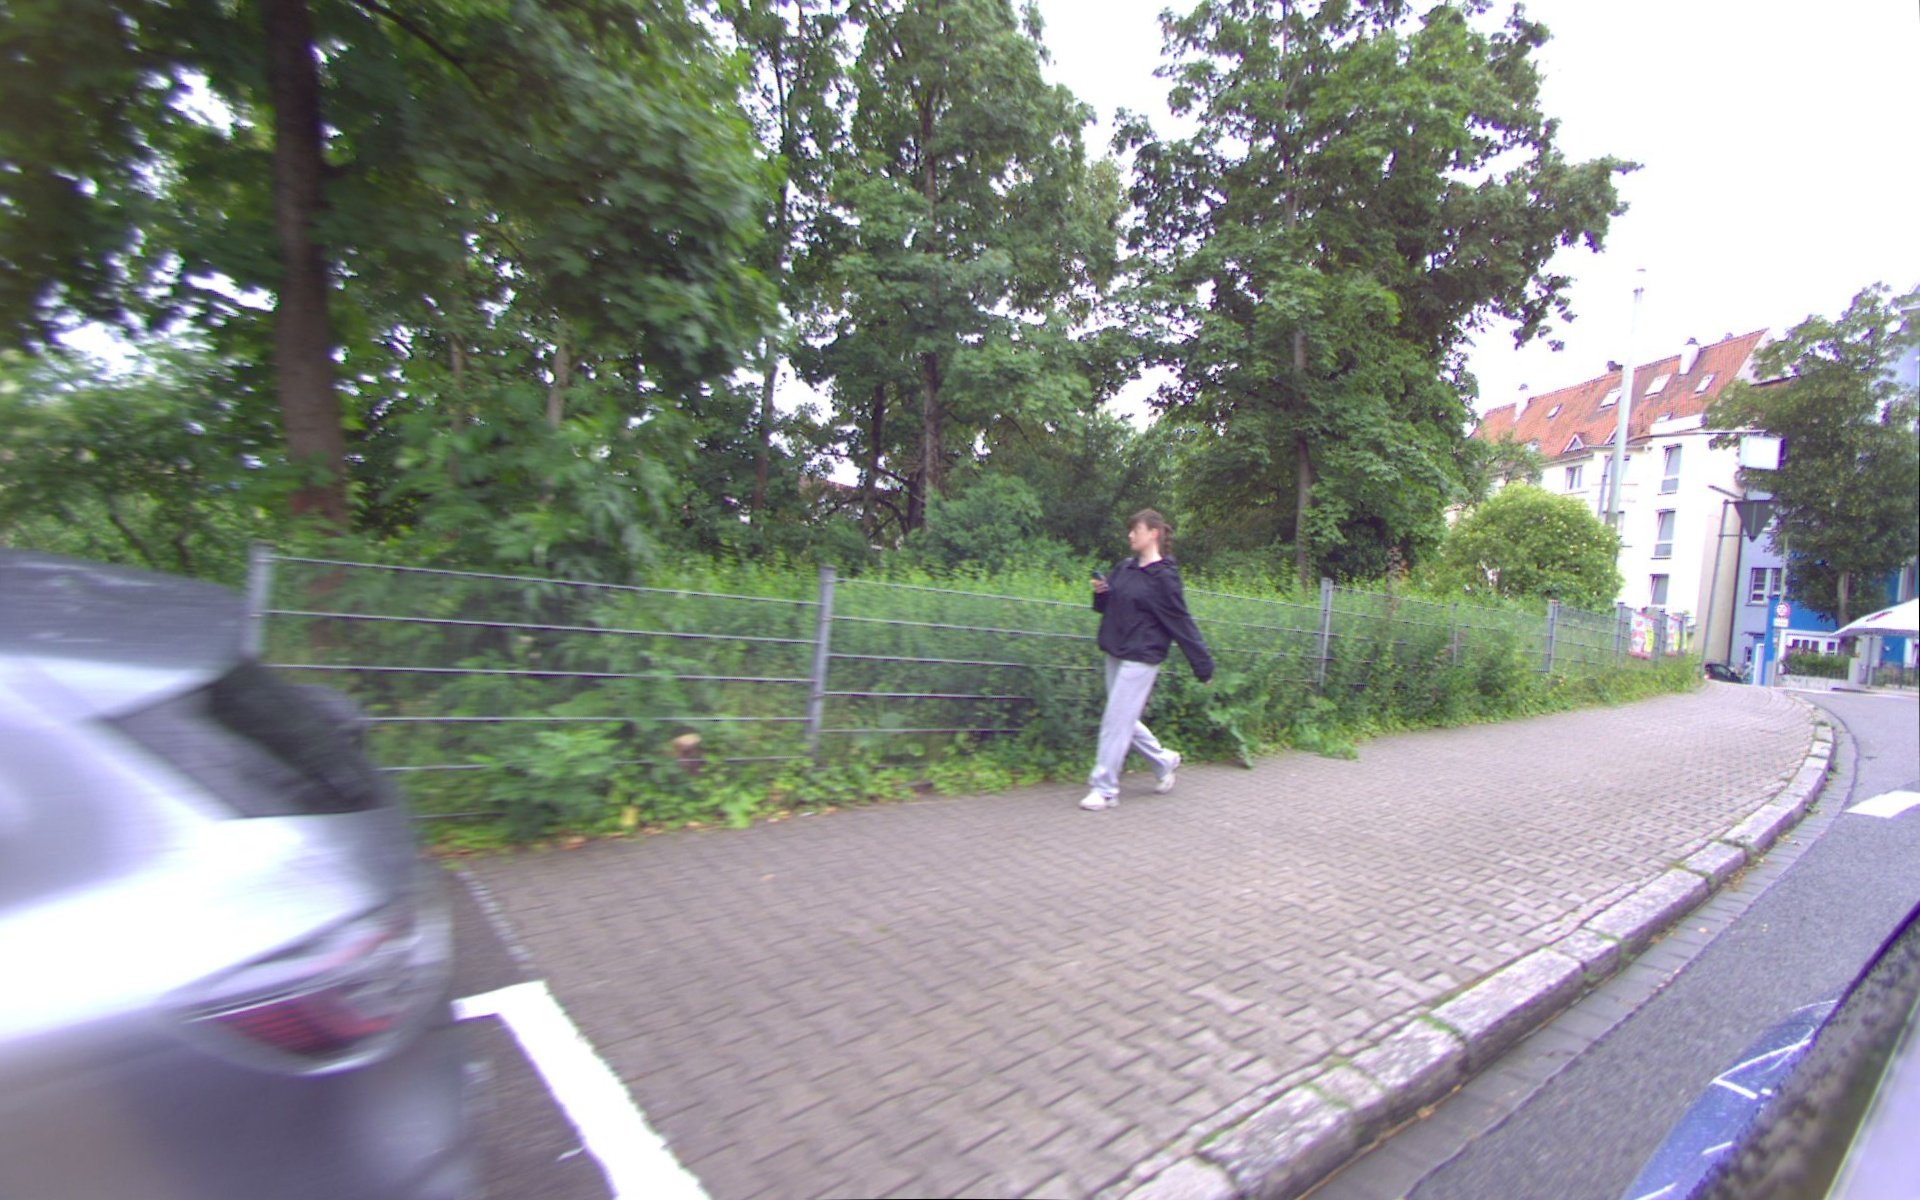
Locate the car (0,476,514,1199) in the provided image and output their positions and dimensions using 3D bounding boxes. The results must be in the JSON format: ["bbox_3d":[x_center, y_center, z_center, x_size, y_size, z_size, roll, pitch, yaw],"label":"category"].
[{"bbox_3d":[-2.540,0.554,0.679,3.747,1.420,1.654,0,7,-41],"label":"car"}]

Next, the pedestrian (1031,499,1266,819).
[{"bbox_3d":[1.070,0.285,5.768,0.948,1.624,0.768,1,5,-39],"label":"pedestrian"}]

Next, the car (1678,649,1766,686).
[{"bbox_3d":[33.023,2.926,43.860,3.076,1.518,1.642,3,-4,-21],"label":"car"}]
